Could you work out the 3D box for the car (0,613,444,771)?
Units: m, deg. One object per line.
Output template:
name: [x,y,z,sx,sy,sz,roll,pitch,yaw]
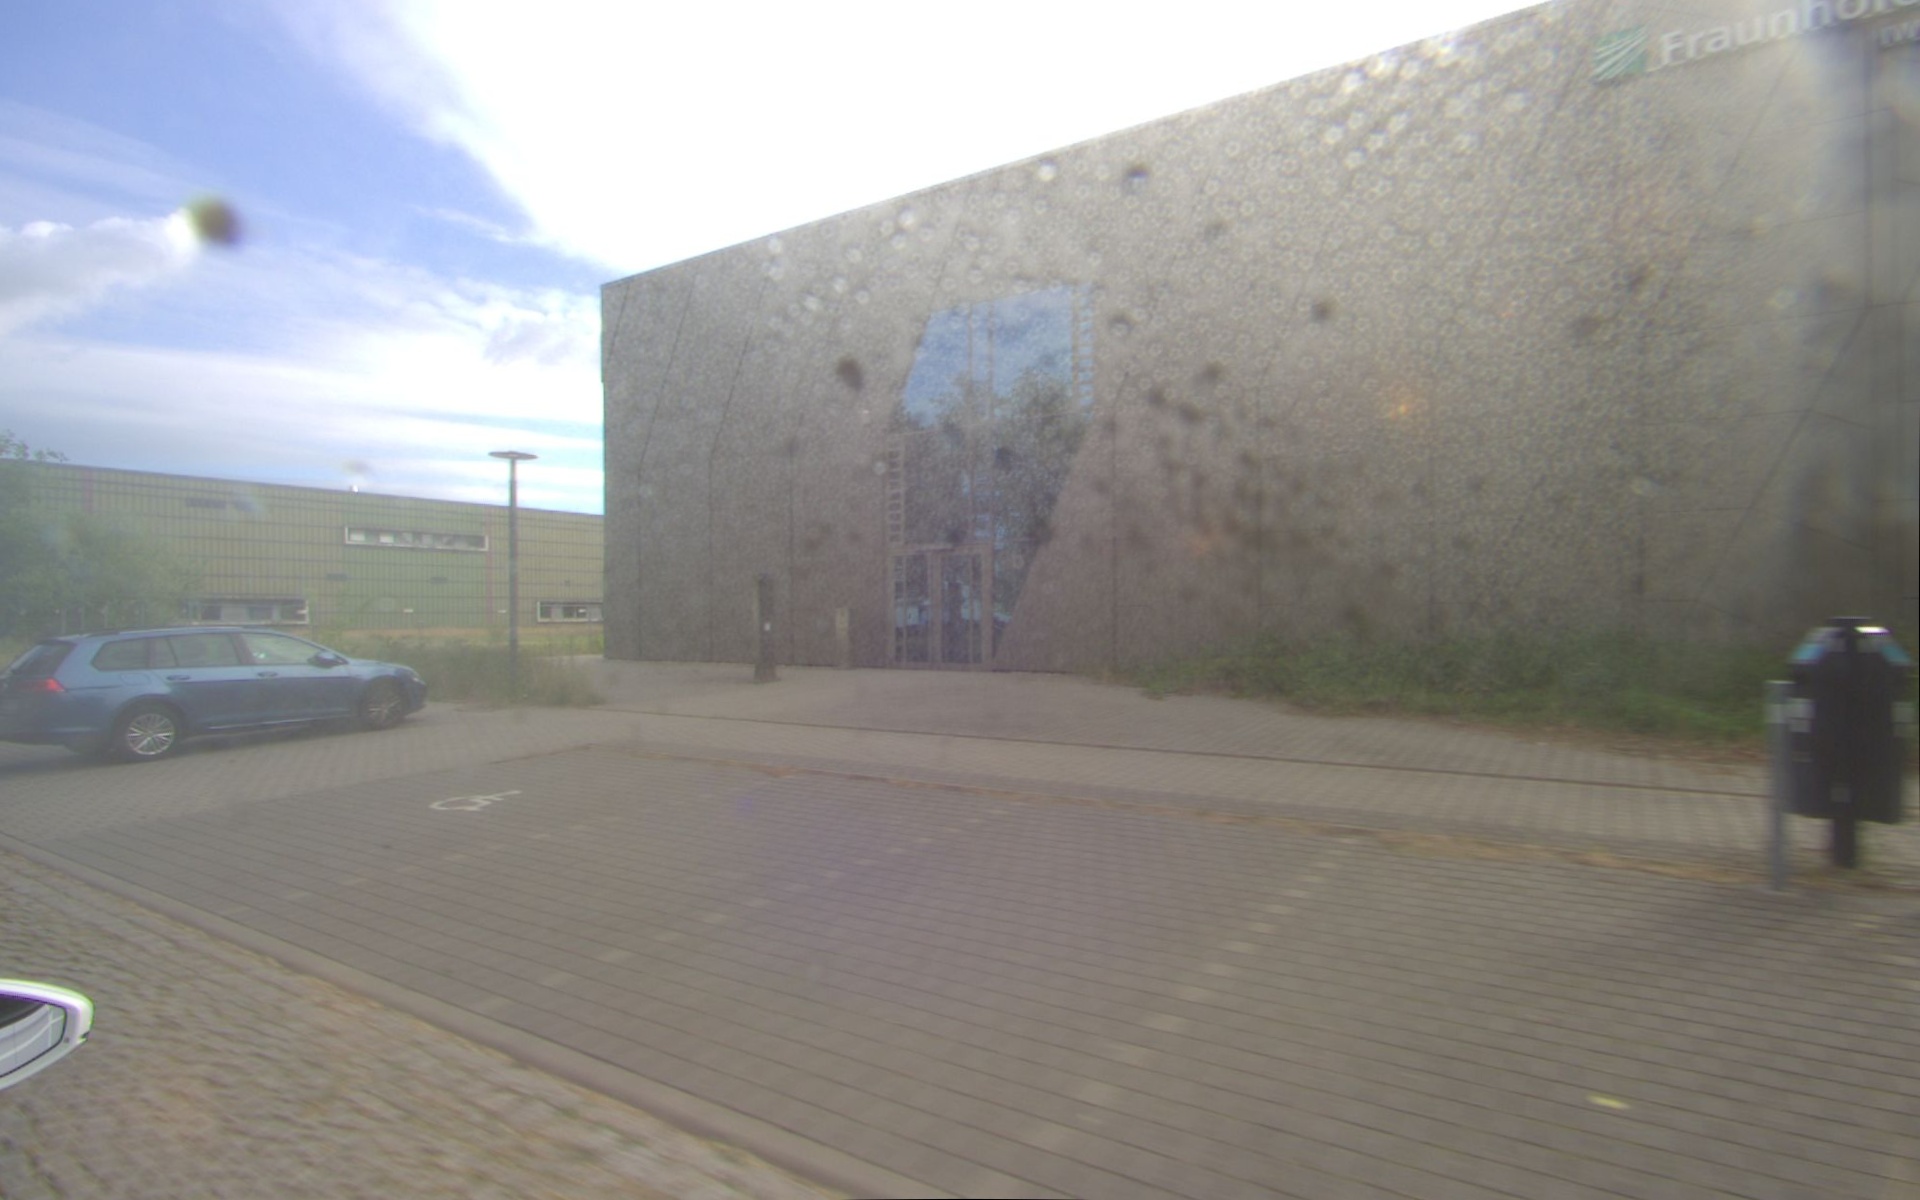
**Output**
car: [-9.212,0.977,12.651,1.796,1.463,4.514,0,1,30]
